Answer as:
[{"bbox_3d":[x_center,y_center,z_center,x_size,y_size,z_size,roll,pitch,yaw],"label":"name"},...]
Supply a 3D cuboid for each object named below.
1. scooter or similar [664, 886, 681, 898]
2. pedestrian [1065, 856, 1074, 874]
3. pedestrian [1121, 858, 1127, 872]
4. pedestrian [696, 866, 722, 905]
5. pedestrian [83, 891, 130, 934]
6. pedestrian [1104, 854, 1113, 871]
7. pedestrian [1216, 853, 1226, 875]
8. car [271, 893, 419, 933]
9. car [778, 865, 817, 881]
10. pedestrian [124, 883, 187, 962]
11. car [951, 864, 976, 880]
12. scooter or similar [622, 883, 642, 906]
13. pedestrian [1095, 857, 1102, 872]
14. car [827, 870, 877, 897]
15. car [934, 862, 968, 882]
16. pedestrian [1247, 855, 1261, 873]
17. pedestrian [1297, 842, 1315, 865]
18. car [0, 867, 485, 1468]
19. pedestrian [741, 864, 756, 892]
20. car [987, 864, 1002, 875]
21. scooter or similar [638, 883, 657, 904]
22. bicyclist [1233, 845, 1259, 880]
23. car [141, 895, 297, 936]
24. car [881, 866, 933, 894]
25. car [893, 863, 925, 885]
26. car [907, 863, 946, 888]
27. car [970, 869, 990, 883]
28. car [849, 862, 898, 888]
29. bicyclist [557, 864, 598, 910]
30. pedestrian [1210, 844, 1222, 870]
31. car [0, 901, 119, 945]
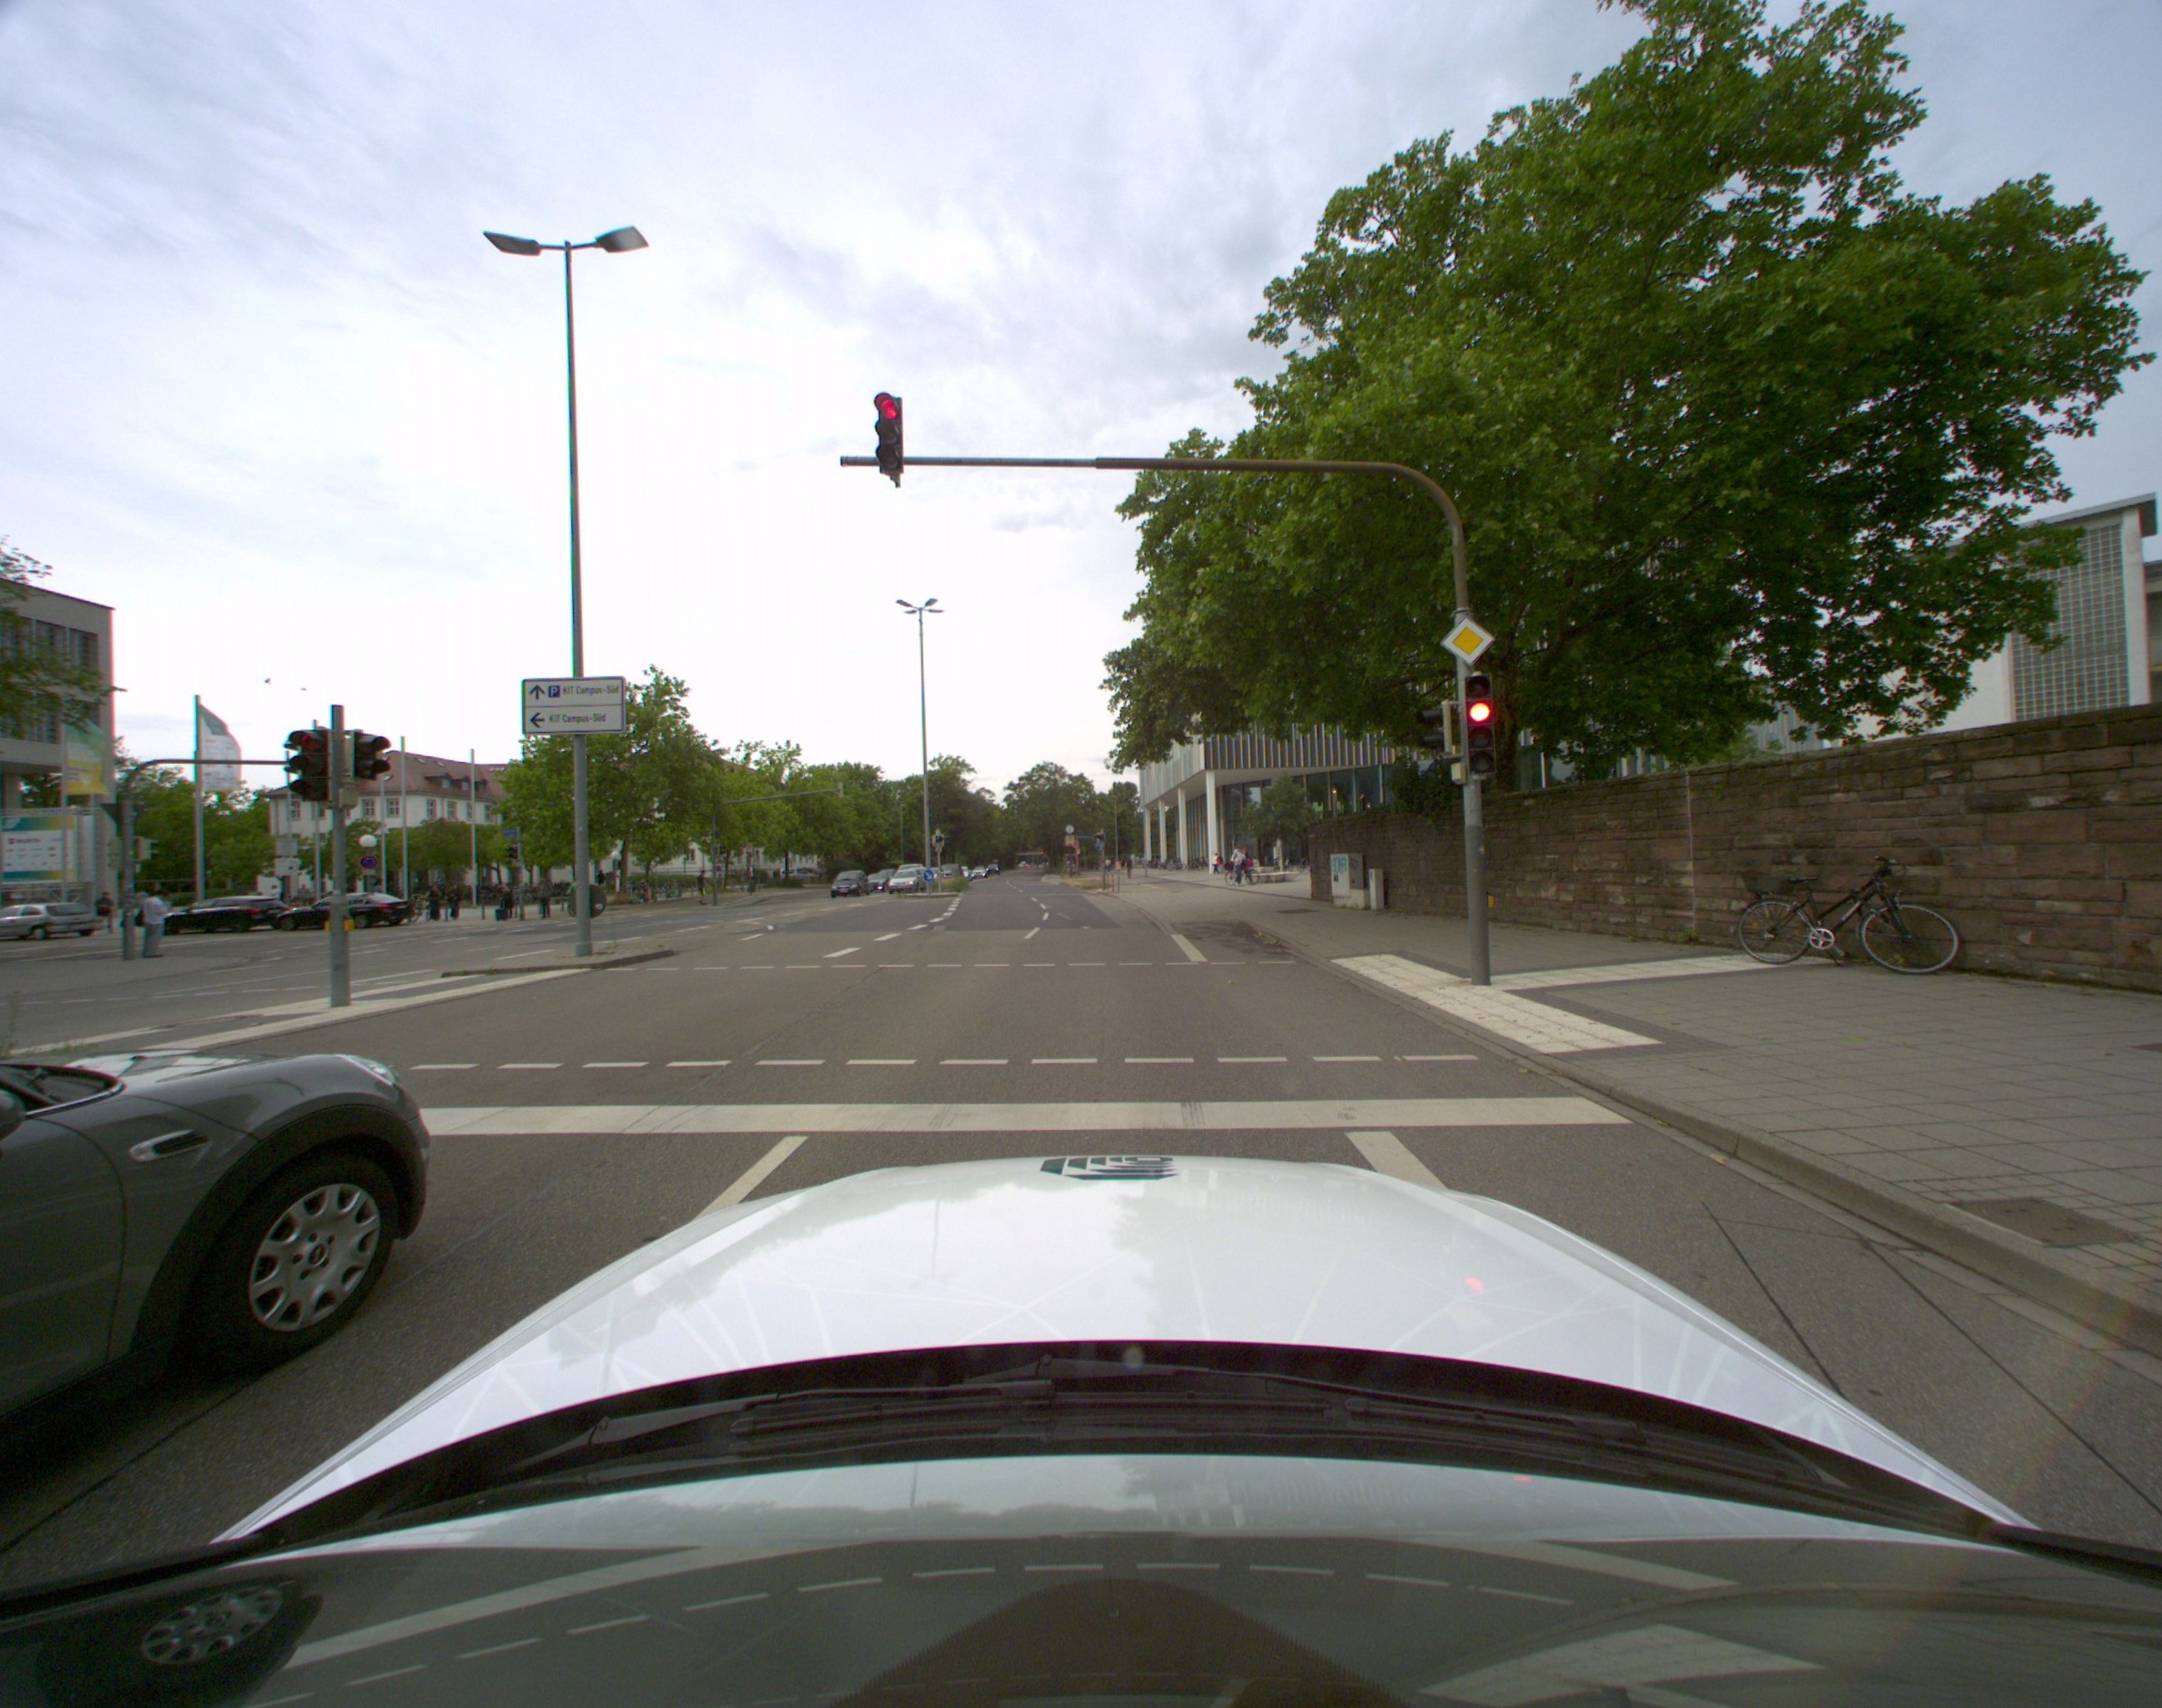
[{"bbox_3d":[-25.546,2.349,50.893,0.405,0.693,1.289,0,-1,1],"label":"scooter or similar"},{"bbox_3d":[-1.336,1.257,94.977,0.910,2.013,0.853,-4,1,-3],"label":"pedestrian"},{"bbox_3d":[5.395,1.357,102.245,0.726,1.684,0.747,0,-1,1],"label":"pedestrian"},{"bbox_3d":[-19.846,1.677,43.434,0.892,2.014,1.008,-2,-1,-4],"label":"pedestrian"},{"bbox_3d":[-47.253,2.828,39.501,1.000,2.014,1.016,-2,-1,-3],"label":"pedestrian"},{"bbox_3d":[3.407,1.080,101.564,0.923,2.014,1.038,-2,-1,-3],"label":"pedestrian"},{"bbox_3d":[10.611,0.735,61.709,0.671,1.641,0.656,-3,-1,10],"label":"pedestrian"},{"bbox_3d":[-30.363,2.425,33.720,4.136,1.472,1.996,0,-1,-6],"label":"car"},{"bbox_3d":[-30.285,2.003,87.032,3.579,1.602,1.649,0,-1,-5],"label":"car"},{"bbox_3d":[-25.098,1.835,22.100,0.664,2.058,0.852,-2,0,-2],"label":"pedestrian"},{"bbox_3d":[-11.580,1.784,80.308,1.899,1.465,4.906,0,0,-2],"label":"car"},{"bbox_3d":[-23.834,2.154,43.233,0.359,1.140,1.318,-3,-1,-2],"label":"scooter or similar"},{"bbox_3d":[2.333,1.438,110.027,0.823,2.014,0.718,-2,-1,-7],"label":"pedestrian"},{"bbox_3d":[-13.928,1.752,49.653,1.845,1.463,3.699,-2,0,2],"label":"car"},{"bbox_3d":[-11.405,1.529,71.774,1.986,1.687,4.949,-1,0,1],"label":"car"},{"bbox_3d":[11.600,0.682,54.649,0.885,1.193,0.848,-2,-1,12],"label":"pedestrian"},{"bbox_3d":[19.888,-0.039,71.871,1.170,2.062,1.142,-1,-1,36],"label":"pedestrian"},{"bbox_3d":[-3.244,0.733,1.380,1.615,1.318,3.707,-2,0,2],"label":"car"},{"bbox_3d":[-23.593,1.693,57.817,0.801,2.014,0.923,0,-1,-9],"label":"pedestrian"},{"bbox_3d":[-12.890,2.288,121.923,1.898,1.593,4.512,-3,-1,-2],"label":"car"},{"bbox_3d":[-23.861,2.167,44.854,0.359,1.140,1.318,-3,-1,-2],"label":"scooter or similar"},{"bbox_3d":[7.690,0.394,37.943,0.957,1.645,0.740,-1,-1,37],"label":"bicyclist"},{"bbox_3d":[-35.142,2.492,33.310,3.982,1.472,1.996,0,-1,-6],"label":"car"},{"bbox_3d":[-10.737,1.559,50.585,1.984,1.529,4.279,-2,0,4],"label":"car"},{"bbox_3d":[-14.507,1.656,68.799,1.766,1.848,4.487,0,-1,0],"label":"car"},{"bbox_3d":[-11.231,1.538,59.469,1.951,1.584,4.256,-4,0,1],"label":"car"},{"bbox_3d":[-12.337,2.674,100.110,1.989,1.547,4.176,-4,-1,-2],"label":"car"},{"bbox_3d":[-14.179,1.378,55.893,1.984,1.619,4.005,-2,0,4],"label":"car"},{"bbox_3d":[-22.329,1.445,36.132,1.181,2.014,1.276,0,-1,-13],"label":"bicyclist"},{"bbox_3d":[10.338,0.234,62.518,0.645,2.014,0.653,-2,-1,-11],"label":"pedestrian"},{"bbox_3d":[-42.130,2.776,32.879,3.979,1.580,1.997,0,-1,-4],"label":"car"}]
